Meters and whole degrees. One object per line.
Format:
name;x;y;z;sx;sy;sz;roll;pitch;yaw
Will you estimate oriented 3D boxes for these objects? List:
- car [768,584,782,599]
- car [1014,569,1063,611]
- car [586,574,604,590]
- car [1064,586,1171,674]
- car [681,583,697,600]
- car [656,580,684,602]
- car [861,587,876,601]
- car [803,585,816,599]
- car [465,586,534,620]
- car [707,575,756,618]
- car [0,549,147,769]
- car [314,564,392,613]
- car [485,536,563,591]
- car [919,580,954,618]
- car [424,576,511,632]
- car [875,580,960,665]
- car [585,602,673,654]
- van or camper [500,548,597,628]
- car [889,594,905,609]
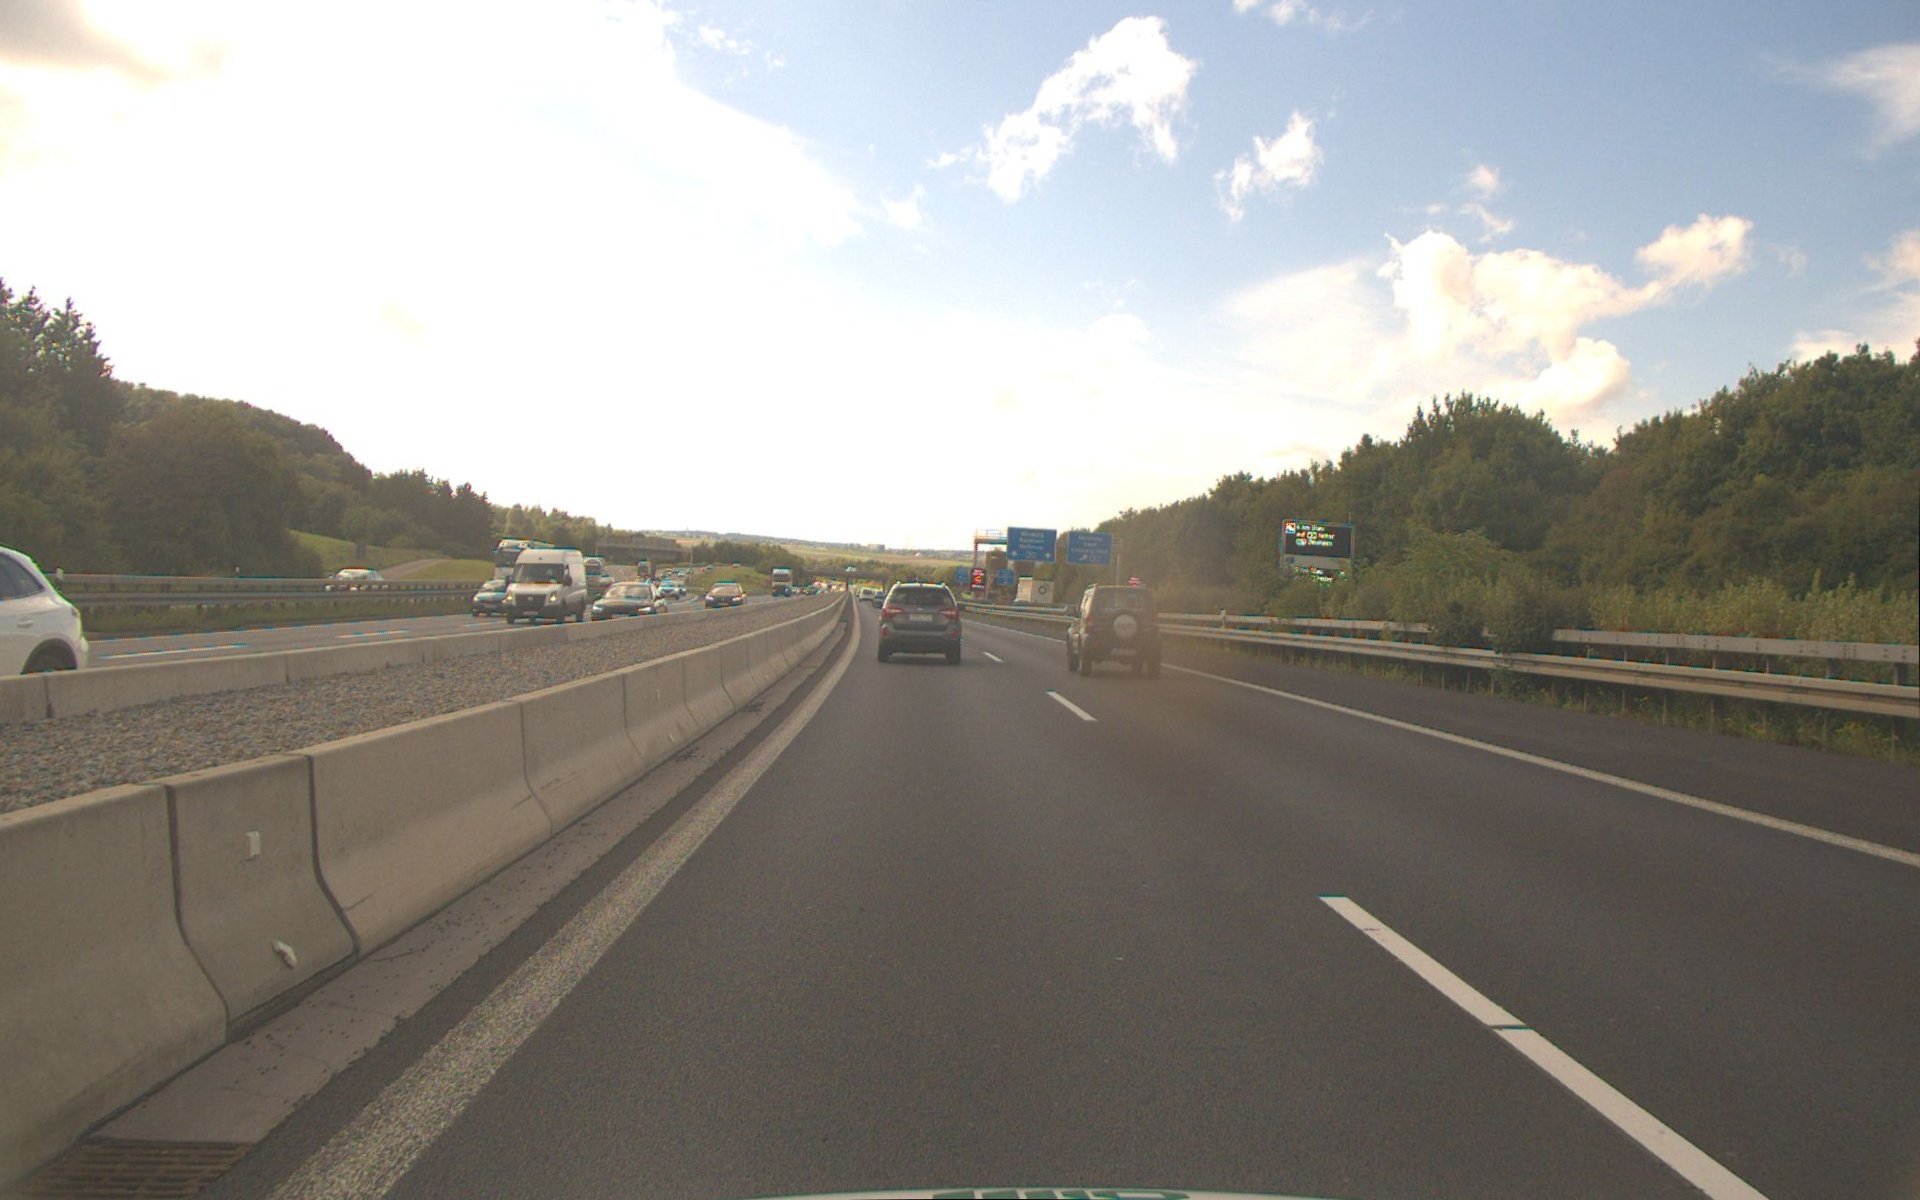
car;-27.511;-1.257;246.054;1.956;2.066;4.266;1;0;-7
car;9.020;-1.104;192.219;4.633;4.341;11.398;1;-2;-2
car;-49.179;-2.432;222.827;1.956;2.049;4.266;1;0;-7
car;3.087;0.554;33.078;1.555;1.625;4.093;1;0;-3
car;-29.800;-0.942;181.959;1.577;1.820;4.266;1;0;-7
car;-25.594;-0.780;145.920;1.954;1.822;4.269;1;0;-4
car;-12.055;-0.808;217.986;1.954;1.713;3.996;1;-2;-4
car;-23.007;-1.182;252.915;1.785;2.049;4.140;1;0;-7
car;-18.724;0.118;67.392;1.594;1.316;4.753;1;0;-2
car;-11.491;-0.181;83.422;1.953;2.049;4.271;1;0;-2
car;-8.016;0.417;11.920;1.805;1.639;5.134;1;0;-1
car;-26.541;-0.502;72.476;1.953;2.049;4.271;1;0;-2
car;-35.004;-2.830;133.490;3.743;4.151;14.811;1;0;-6
car;-1.430;-0.062;99.479;1.989;2.189;3.999;1;0;-1
car;-16.031;0.110;54.043;1.691;1.729;4.151;1;0;-2
car;-0.932;0.513;37.845;1.780;1.766;5.185;1;-1;-1
car;-10.153;0.833;51.017;1.886;1.460;4.775;1;0;-2
van or camper;-14.689;-0.423;59.509;1.946;2.670;6.860;1;0;-2
car;-9.110;0.224;238.506;1.955;1.963;3.994;1;-2;-6
